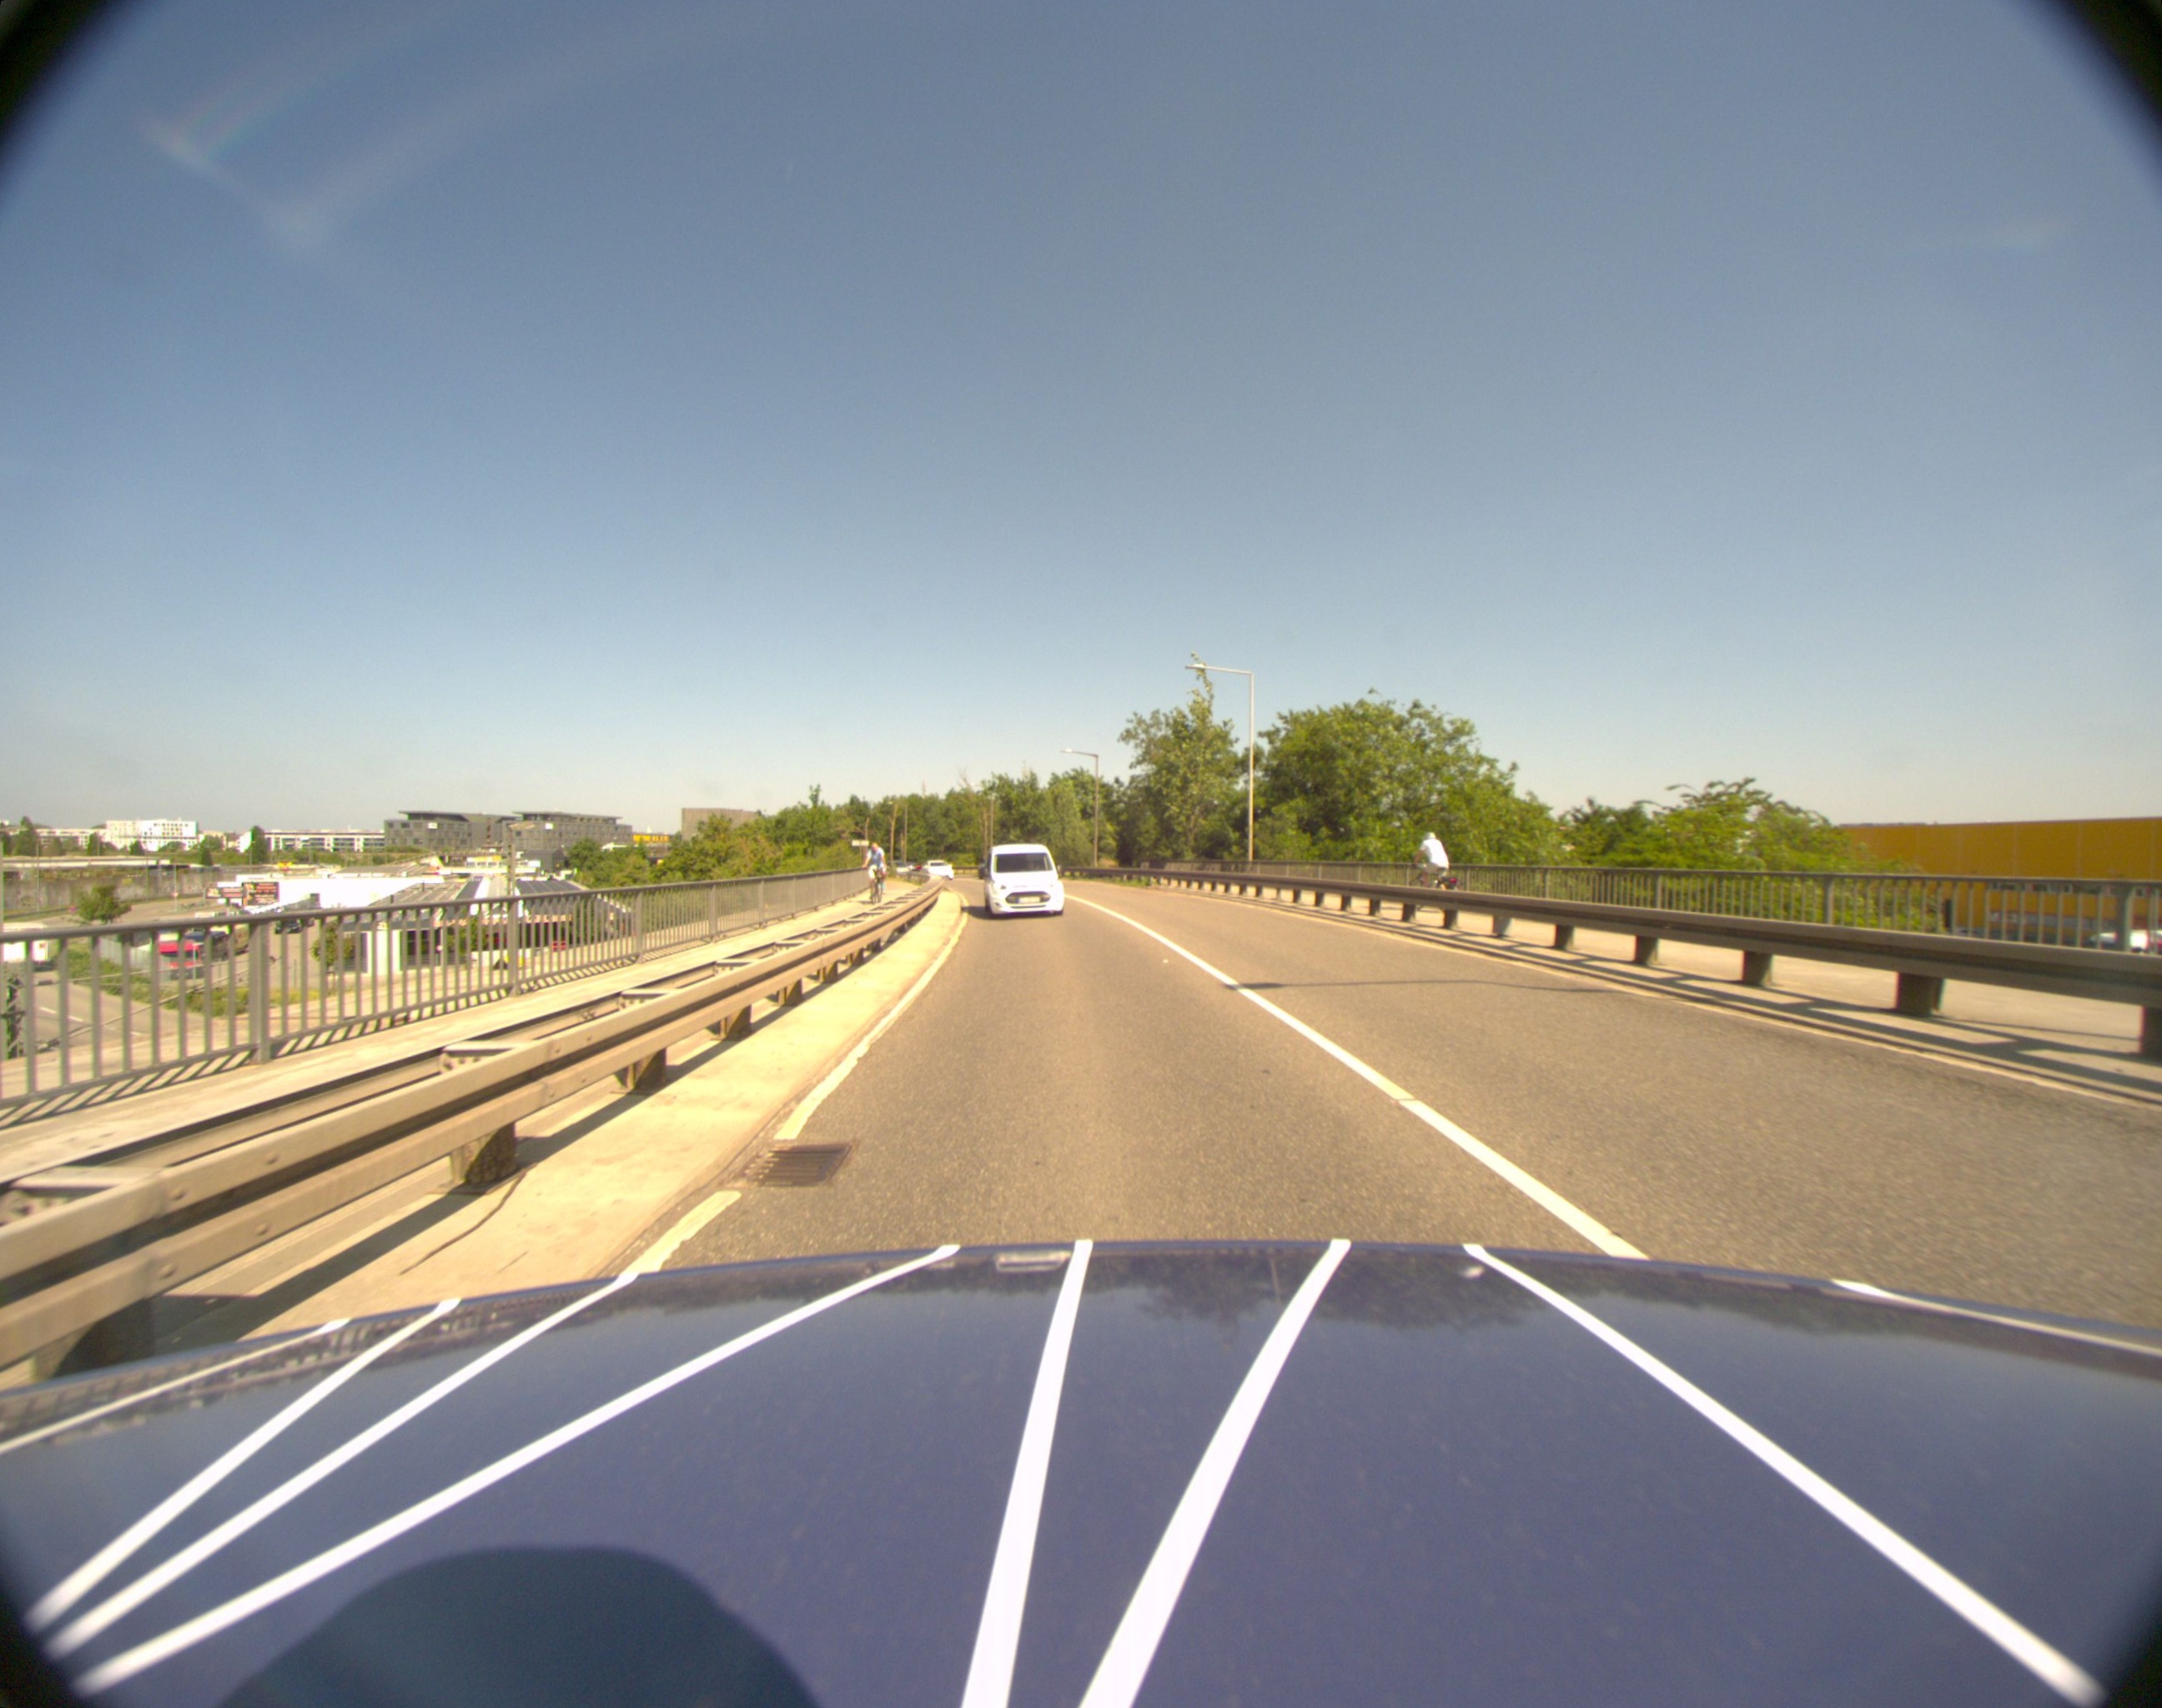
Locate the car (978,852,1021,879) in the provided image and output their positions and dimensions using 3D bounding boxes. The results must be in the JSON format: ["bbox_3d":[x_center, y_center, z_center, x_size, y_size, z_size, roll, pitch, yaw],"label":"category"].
[{"bbox_3d":[-5.726,0.759,52.882,1.866,1.673,4.465,-3,1,-21],"label":"car"}]

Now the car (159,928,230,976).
[{"bbox_3d":[-66.184,7.243,56.833,2.311,2.650,5.362,-8,6,-39],"label":"car"}]

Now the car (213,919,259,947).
[{"bbox_3d":[-74.219,6.891,66.788,2.003,1.861,3.989,-8,4,-40],"label":"car"}]

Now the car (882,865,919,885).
[{"bbox_3d":[-16.355,1.904,68.800,2.002,1.576,3.991,-8,3,-30],"label":"car"}]

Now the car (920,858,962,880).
[{"bbox_3d":[-10.480,1.118,56.670,1.850,1.480,4.143,-2,0,-28],"label":"car"}]

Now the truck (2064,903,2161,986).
[{"bbox_3d":[90.257,6.909,59.183,17.523,5.644,5.979,-1,1,8],"label":"truck"}]

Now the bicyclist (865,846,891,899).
[{"bbox_3d":[-5.946,0.538,22.319,0.660,1.511,0.802,2,0,-13],"label":"bicyclist"}]

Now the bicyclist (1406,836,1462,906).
[{"bbox_3d":[7.498,0.346,16.182,0.610,1.430,1.077,1,1,-4],"label":"bicyclist"}]

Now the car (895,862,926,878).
[{"bbox_3d":[-17.630,1.664,78.554,1.747,1.448,4.290,-2,-1,-31],"label":"car"}]

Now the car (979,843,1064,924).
[{"bbox_3d":[-1.600,0.677,19.769,1.898,1.785,4.445,-2,0,-6],"label":"car"}]

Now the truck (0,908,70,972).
[{"bbox_3d":[-83.090,6.615,60.032,13.232,4.005,3.831,0,-1,37],"label":"truck"}]

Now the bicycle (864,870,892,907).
[{"bbox_3d":[-5.996,0.998,22.515,0.705,1.014,1.844,2,0,-13],"label":"bicycle"}]

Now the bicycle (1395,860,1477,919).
[{"bbox_3d":[7.490,0.719,16.166,0.613,1.128,2.148,1,0,-3],"label":"bicycle"}]
